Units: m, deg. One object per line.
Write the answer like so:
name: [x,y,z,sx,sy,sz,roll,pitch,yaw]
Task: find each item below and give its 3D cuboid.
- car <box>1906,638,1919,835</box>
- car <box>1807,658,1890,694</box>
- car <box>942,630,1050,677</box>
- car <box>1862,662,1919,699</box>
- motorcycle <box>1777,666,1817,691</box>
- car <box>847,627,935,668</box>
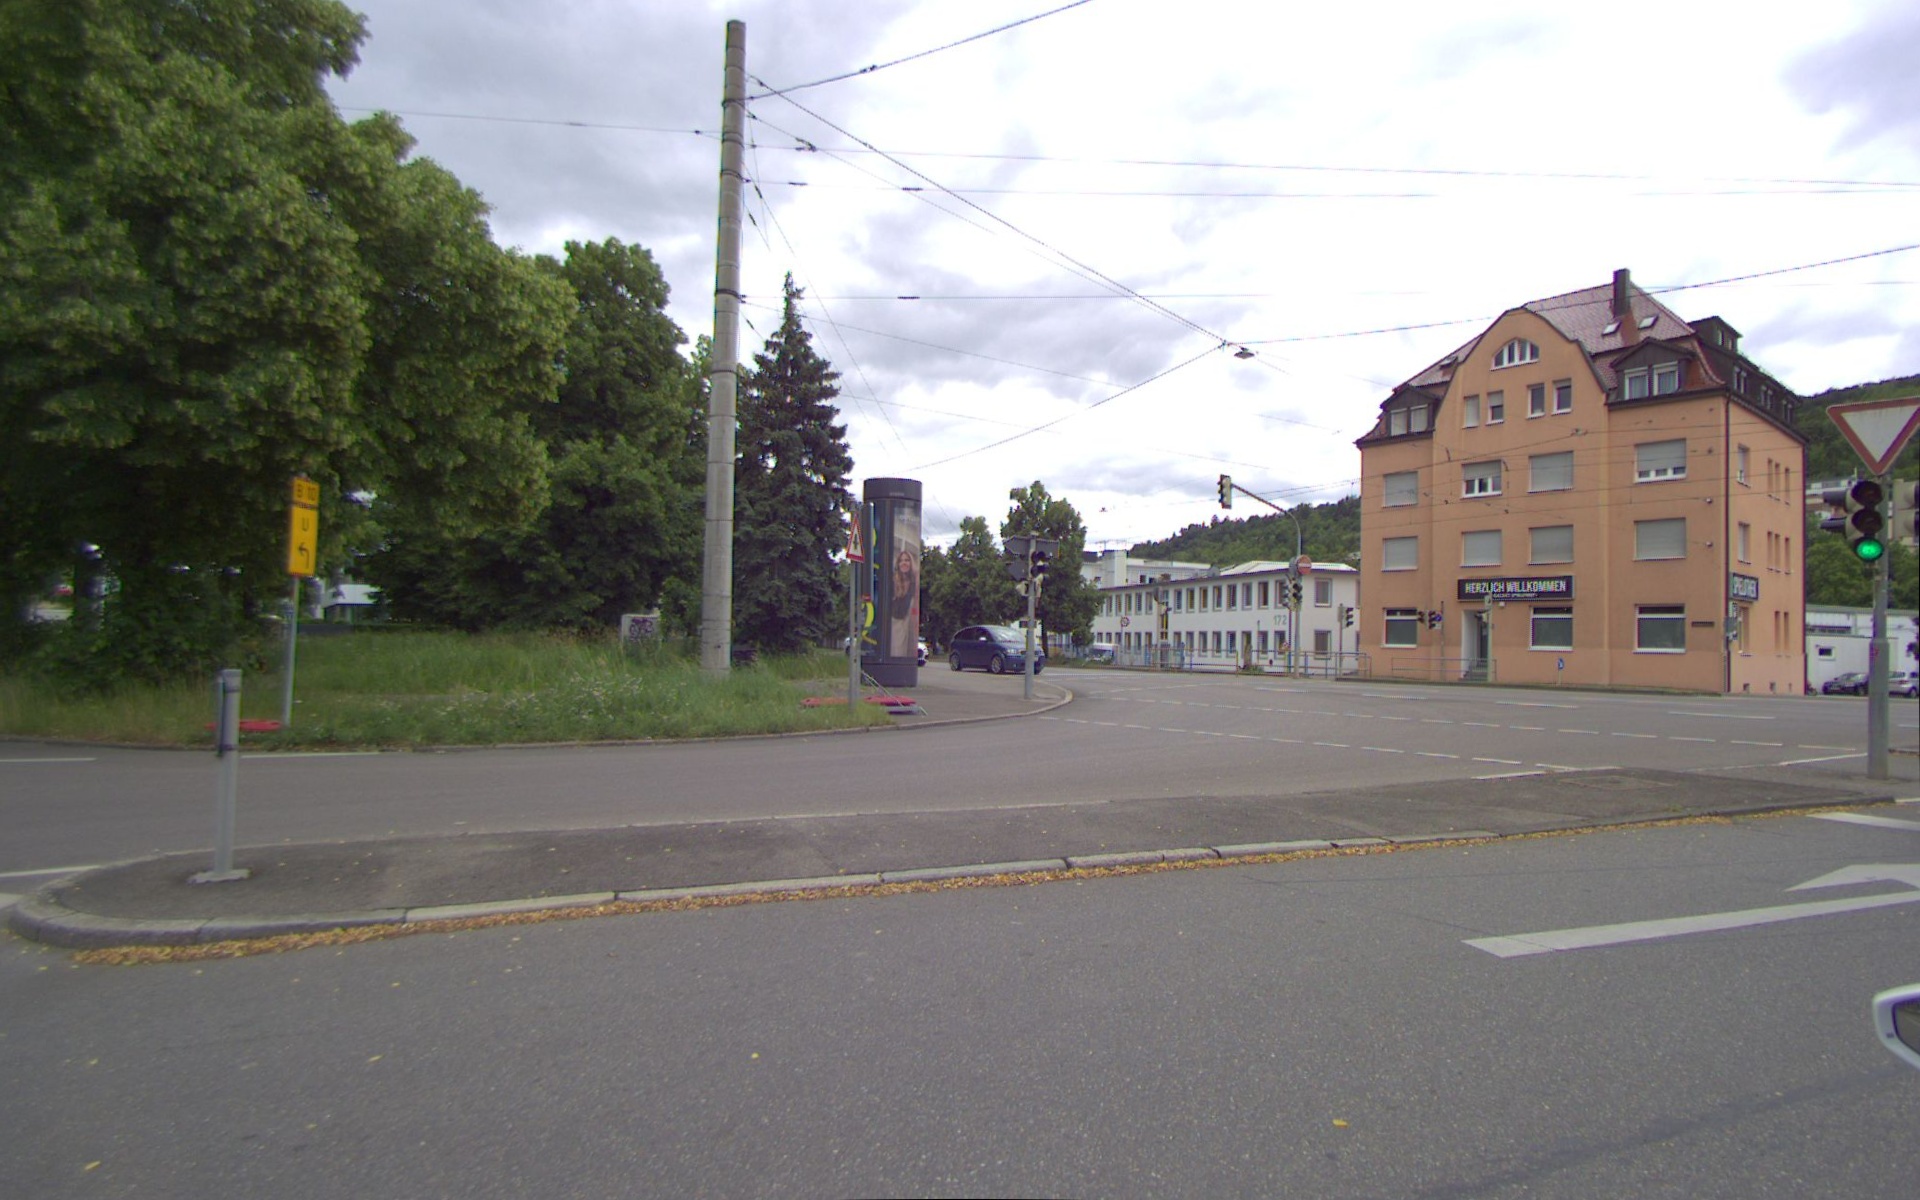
car: [8.859,0.992,7.273,3.323,1.439,1.592,1,-3,-20]
car: [53.048,4.557,59.999,4.448,1.863,1.988,4,0,-24]
car: [1.107,1.672,32.340,1.731,1.410,3.671,2,-2,-32]
car: [54.309,4.652,57.780,4.450,1.863,1.987,4,0,-25]
motorcycle: [40.052,3.749,48.093,0.518,0.997,1.710,4,0,4]
car: [-2.699,1.778,38.352,1.729,1.445,4.132,2,-2,-30]
